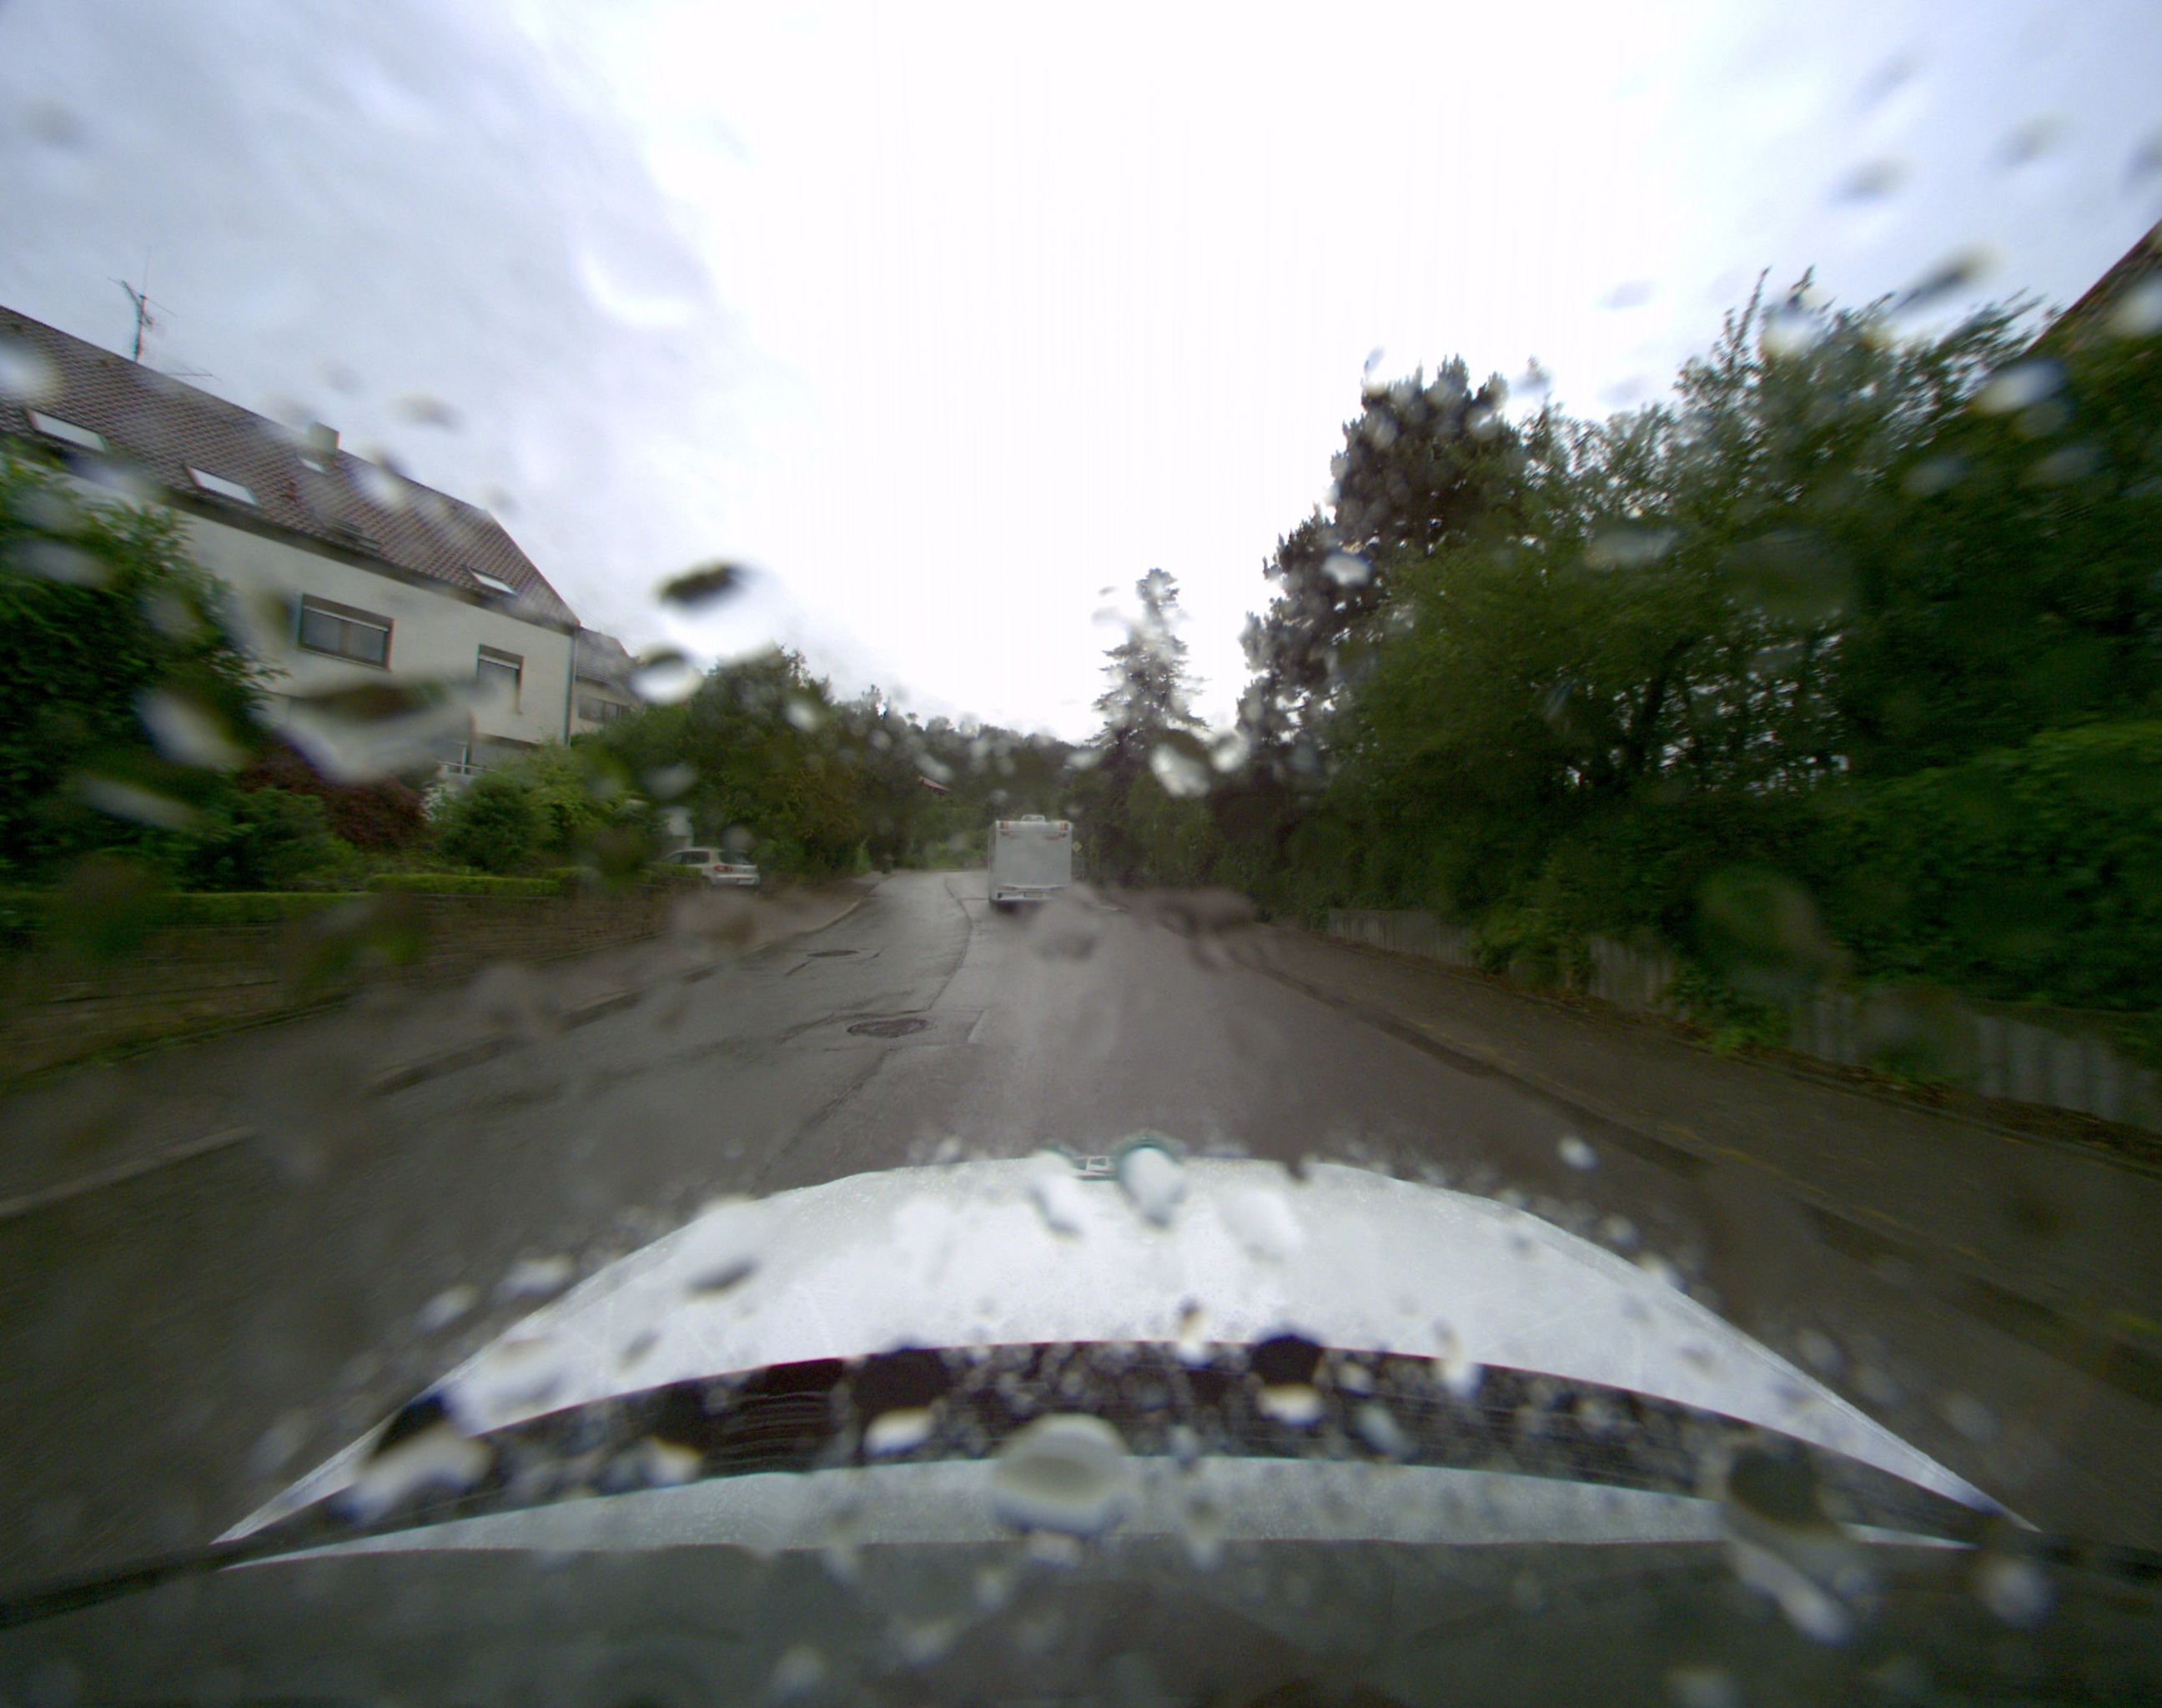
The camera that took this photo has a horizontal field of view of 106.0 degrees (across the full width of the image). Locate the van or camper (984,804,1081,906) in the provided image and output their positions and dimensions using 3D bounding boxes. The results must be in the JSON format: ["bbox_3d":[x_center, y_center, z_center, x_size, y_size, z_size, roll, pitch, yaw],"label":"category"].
[{"bbox_3d":[-1.723,0.123,26.210,2.614,2.853,6.013,1,-2,-8],"label":"van or camper"}]

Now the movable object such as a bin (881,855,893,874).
[{"bbox_3d":[-13.251,0.713,55.503,0.742,1.253,0.754,2,-1,-13],"label":"movable object such as a bin"}]

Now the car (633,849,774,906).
[{"bbox_3d":[-11.743,0.747,25.326,3.896,1.585,1.874,-3,-2,25],"label":"car"}]

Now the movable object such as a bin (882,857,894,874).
[{"bbox_3d":[-12.954,0.784,54.713,0.742,1.094,0.754,2,-1,-13],"label":"movable object such as a bin"}]
